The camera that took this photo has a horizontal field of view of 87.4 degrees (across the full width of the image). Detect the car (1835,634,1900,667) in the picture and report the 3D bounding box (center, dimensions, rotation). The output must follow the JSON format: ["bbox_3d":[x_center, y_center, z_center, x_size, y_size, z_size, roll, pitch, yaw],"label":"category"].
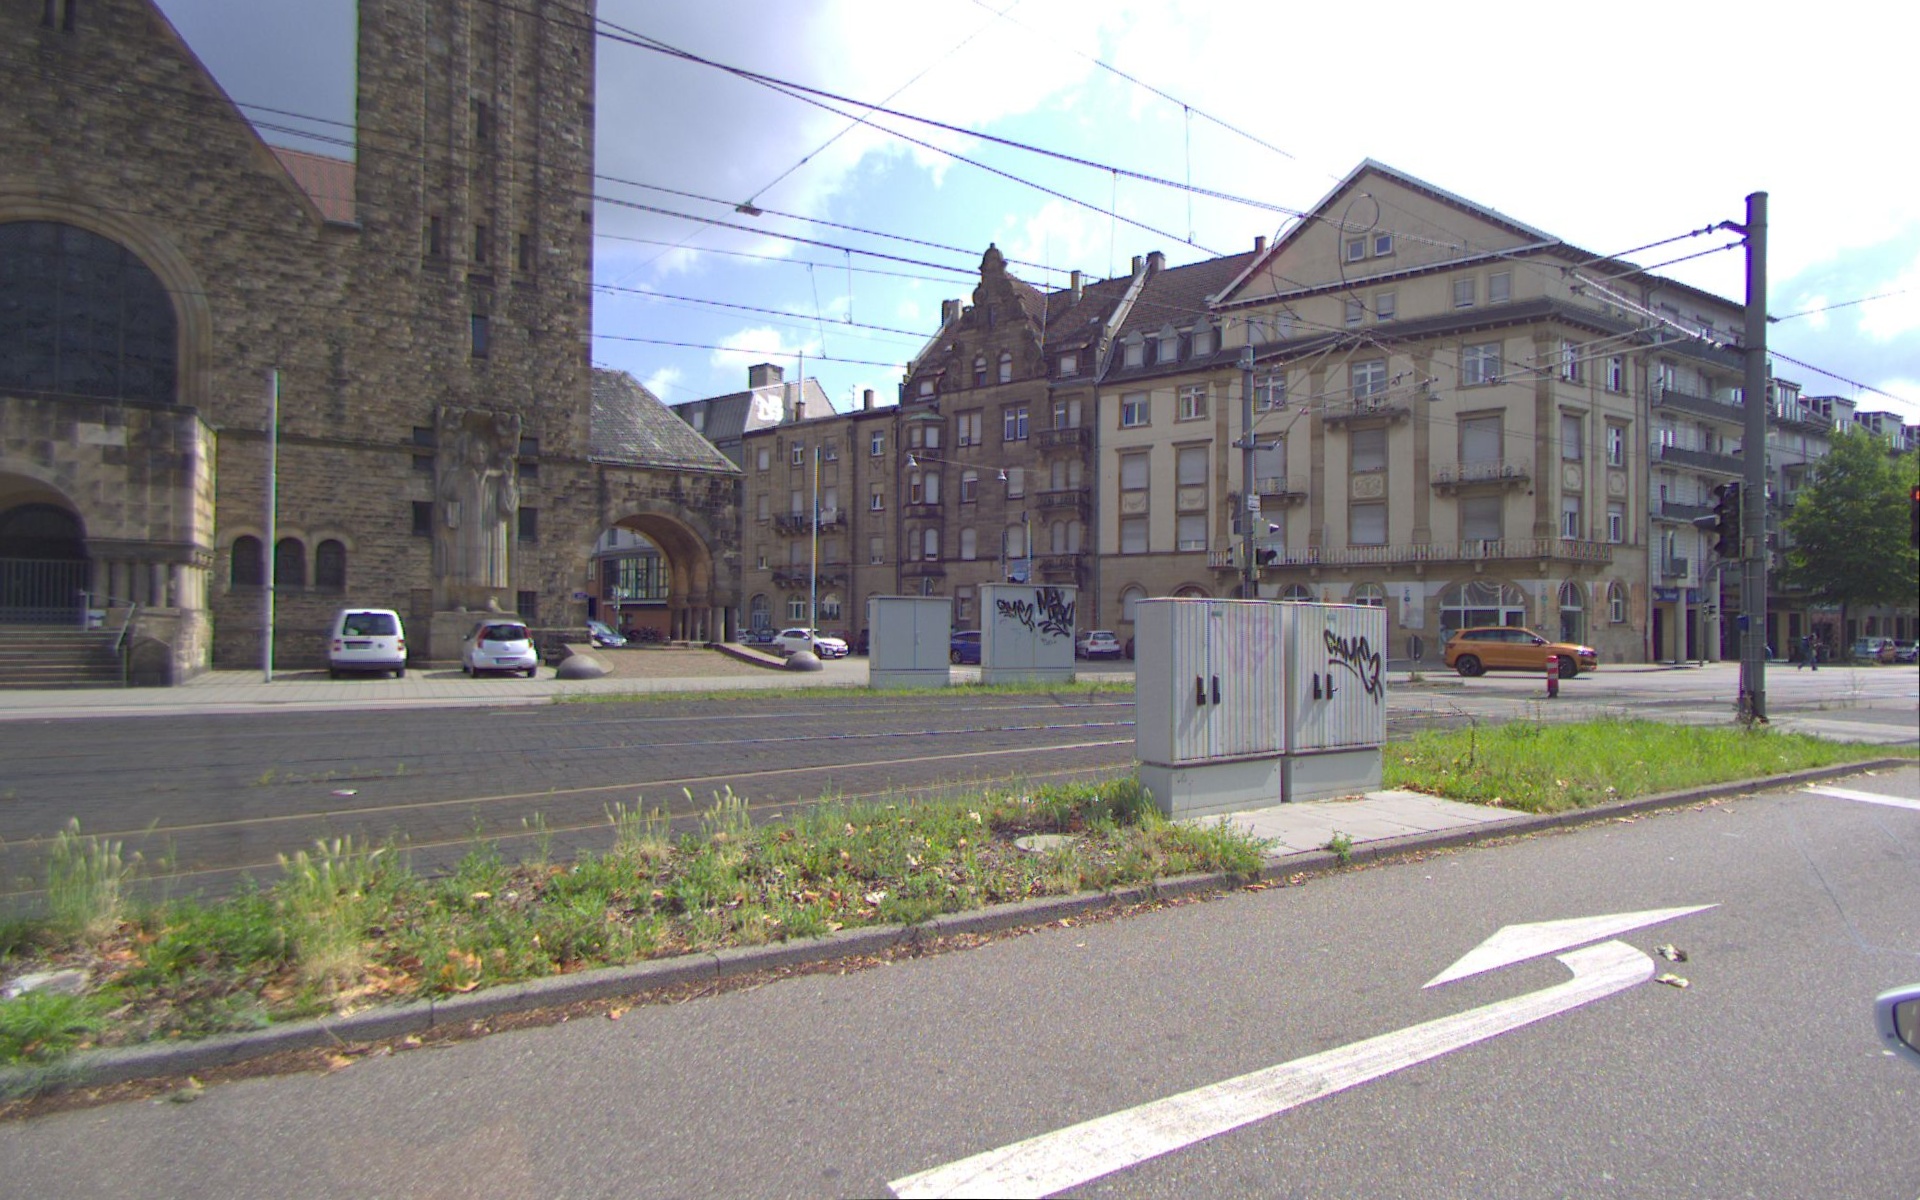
[{"bbox_3d":[58.147,3.183,64.360,3.953,2.040,1.984,1,-2,-30],"label":"car"}]

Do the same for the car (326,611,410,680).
[{"bbox_3d":[-16.455,1.218,27.840,1.874,1.771,3.849,1,-2,-32],"label":"car"}]

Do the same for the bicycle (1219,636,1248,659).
[{"bbox_3d":[13.500,2.321,49.586,0.729,1.067,2.561,-1,-2,31],"label":"bicycle"}]

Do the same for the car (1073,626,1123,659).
[{"bbox_3d":[7.258,2.205,53.058,1.768,1.661,3.998,0,-2,-5],"label":"car"}]

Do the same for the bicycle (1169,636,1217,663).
[{"bbox_3d":[11.513,2.419,49.762,0.982,1.270,3.313,0,-2,-13],"label":"bicycle"}]

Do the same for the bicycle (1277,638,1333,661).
[{"bbox_3d":[16.347,2.341,47.574,2.525,1.067,0.803,1,-2,-18],"label":"bicycle"}]

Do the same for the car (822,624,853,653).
[{"bbox_3d":[-7.709,2.414,63.390,1.617,1.718,3.859,0,-2,-2],"label":"car"}]

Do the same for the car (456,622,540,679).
[{"bbox_3d":[-13.292,1.412,28.817,1.833,1.522,3.249,1,-2,-31],"label":"car"}]

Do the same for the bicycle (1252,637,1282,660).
[{"bbox_3d":[14.877,2.335,48.662,0.792,1.067,2.561,-1,-2,31],"label":"bicycle"}]

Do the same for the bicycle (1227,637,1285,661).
[{"bbox_3d":[13.921,2.301,47.224,2.522,1.067,0.680,-1,-2,33],"label":"bicycle"}]

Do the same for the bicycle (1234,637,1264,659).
[{"bbox_3d":[14.162,2.328,49.115,0.792,1.067,2.561,-1,-2,31],"label":"bicycle"}]

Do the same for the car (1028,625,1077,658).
[{"bbox_3d":[4.971,2.223,54.259,1.962,1.695,3.998,0,-2,-5],"label":"car"}]

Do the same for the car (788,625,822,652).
[{"bbox_3d":[-10.028,2.484,65.051,1.686,1.706,4.000,0,-2,-2],"label":"car"}]

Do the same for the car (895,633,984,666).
[{"bbox_3d":[-0.962,2.227,45.855,3.933,1.449,1.532,-1,-2,34],"label":"car"}]

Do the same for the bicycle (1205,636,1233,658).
[{"bbox_3d":[13.020,2.323,50.383,0.729,1.067,2.360,-1,-2,31],"label":"bicycle"}]

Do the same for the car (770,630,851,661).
[{"bbox_3d":[-7.565,2.272,50.658,4.122,1.449,1.532,-1,-2,34],"label":"car"}]

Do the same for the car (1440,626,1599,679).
[{"bbox_3d":[17.715,1.629,31.898,4.257,1.567,1.625,-1,-2,36],"label":"car"}]

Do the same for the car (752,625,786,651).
[{"bbox_3d":[-12.761,2.559,67.348,1.653,1.697,4.000,0,-2,-2],"label":"car"}]

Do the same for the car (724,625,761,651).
[{"bbox_3d":[-14.741,2.569,68.286,1.707,1.693,4.039,0,-2,-2],"label":"car"}]

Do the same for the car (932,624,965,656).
[{"bbox_3d":[-0.632,2.302,58.353,1.850,1.782,4.001,0,-2,1],"label":"car"}]

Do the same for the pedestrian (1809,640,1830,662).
[{"bbox_3d":[50.209,2.983,58.667,0.695,1.227,0.750,1,-2,-30],"label":"pedestrian"}]

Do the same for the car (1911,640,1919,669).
[{"bbox_3d":[69.356,3.825,71.044,3.953,2.040,1.984,1,-2,-30],"label":"car"}]

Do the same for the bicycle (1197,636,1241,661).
[{"bbox_3d":[12.226,2.271,47.399,1.939,1.129,0.487,-1,-2,24],"label":"bicycle"}]

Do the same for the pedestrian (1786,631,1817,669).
[{"bbox_3d":[36.934,2.192,44.096,0.846,1.617,0.693,0,-2,25],"label":"pedestrian"}]

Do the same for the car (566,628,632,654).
[{"bbox_3d":[-20.633,2.328,57.342,3.719,1.449,1.709,-1,-2,34],"label":"car"}]

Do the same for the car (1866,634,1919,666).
[{"bbox_3d":[62.205,3.276,66.623,3.953,2.040,1.984,1,-2,-30],"label":"car"}]

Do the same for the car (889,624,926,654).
[{"bbox_3d":[-3.126,2.332,60.220,1.960,1.760,4.001,0,-2,1],"label":"car"}]
